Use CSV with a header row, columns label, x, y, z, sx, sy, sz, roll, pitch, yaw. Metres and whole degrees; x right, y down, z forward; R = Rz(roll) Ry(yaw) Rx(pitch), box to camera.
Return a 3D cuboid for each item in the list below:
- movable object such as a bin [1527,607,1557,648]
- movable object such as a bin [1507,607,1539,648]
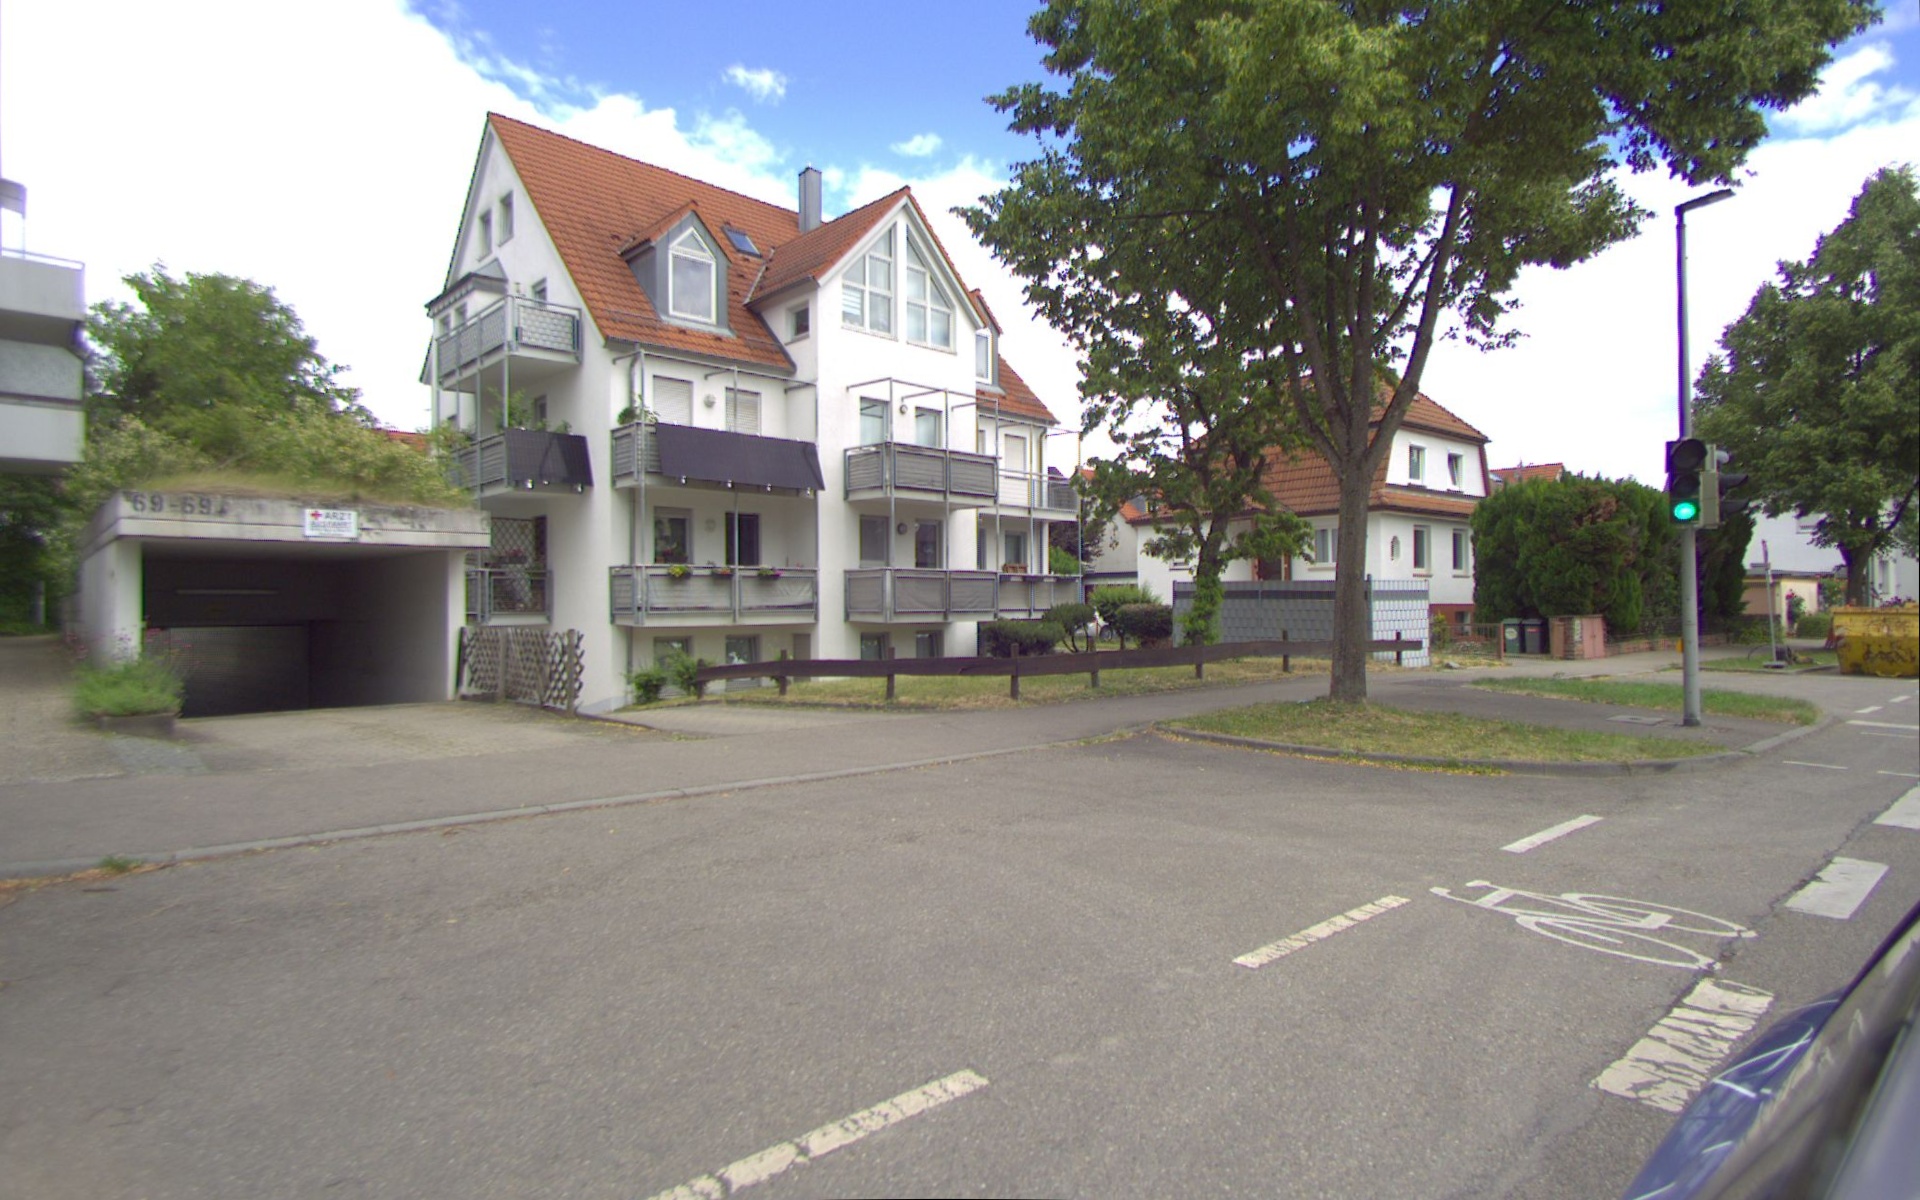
label,x,y,z,sx,sy,sz,roll,pitch,yaw
movable object such as a bin,15.346,0.728,26.677,0.508,1.058,0.501,0,0,-27
movable object such as a bin,15.110,0.737,27.162,0.508,1.072,0.542,0,0,-27
